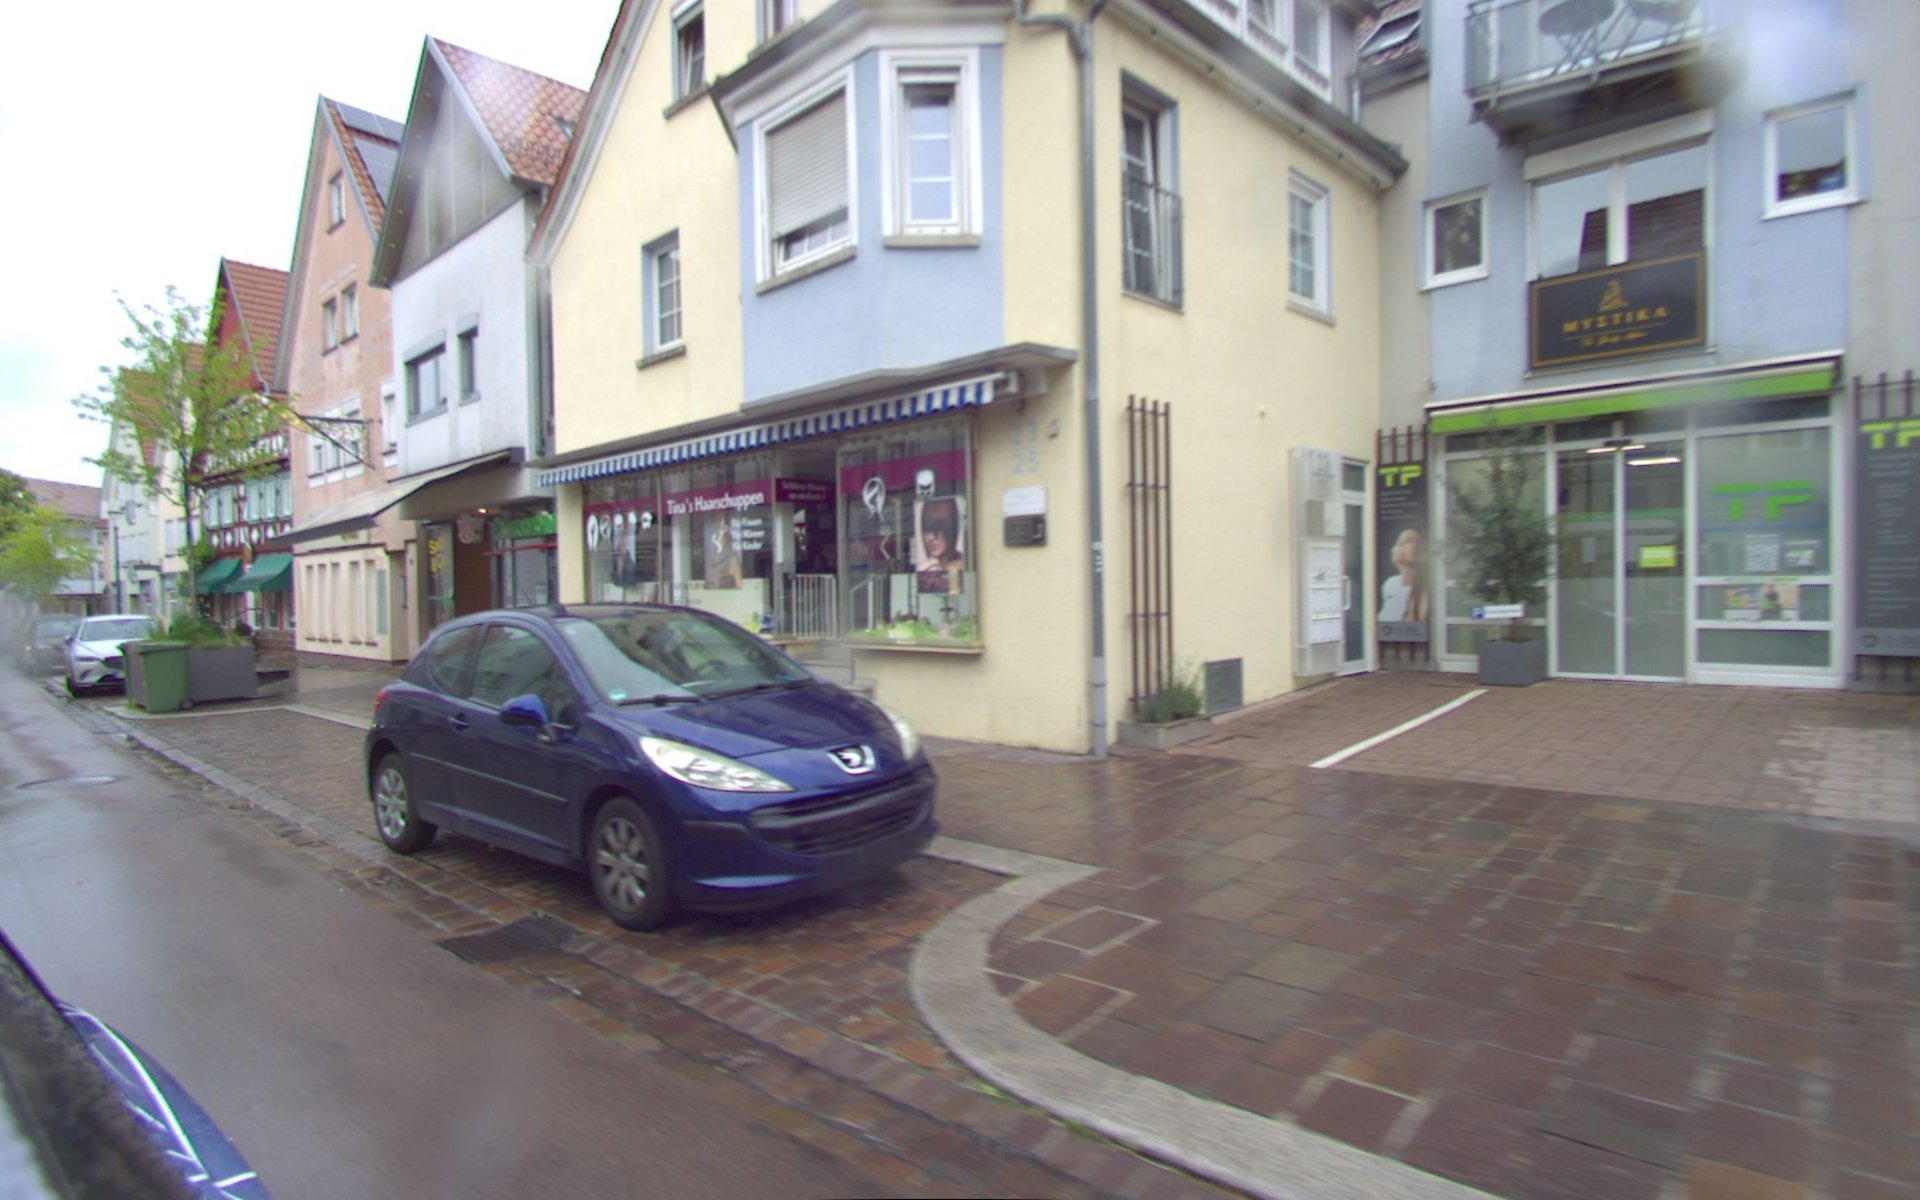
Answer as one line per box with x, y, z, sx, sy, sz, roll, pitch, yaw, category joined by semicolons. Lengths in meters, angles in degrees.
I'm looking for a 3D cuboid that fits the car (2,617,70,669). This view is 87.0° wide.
-34.559;1.559;37.814;1.751;1.687;4.483;-3;2;-44;car

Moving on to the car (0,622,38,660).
-42.756;1.803;45.667;1.574;1.557;3.980;-1;1;-44;car

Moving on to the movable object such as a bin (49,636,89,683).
-22.467;1.490;25.526;0.738;1.090;0.764;-1;0;-43;movable object such as a bin

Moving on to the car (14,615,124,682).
-25.088;1.290;28.447;4.282;1.563;1.814;0;4;43;car

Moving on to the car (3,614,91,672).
-29.741;1.335;32.920;4.542;1.687;1.813;0;1;44;car

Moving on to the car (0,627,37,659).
-46.718;2.129;49.462;4.624;1.443;1.783;-3;-1;41;car

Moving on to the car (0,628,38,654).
-59.787;2.564;63.093;1.965;1.464;4.013;-1;1;-19;car

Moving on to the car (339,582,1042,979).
-1.742;0.713;5.888;3.996;1.483;1.974;-2;1;39;car

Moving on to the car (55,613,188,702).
-17.373;1.095;20.914;1.806;1.578;4.003;-1;1;-44;car

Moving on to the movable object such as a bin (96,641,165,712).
-14.091;1.277;17.199;0.609;1.114;0.806;0;0;40;movable object such as a bin

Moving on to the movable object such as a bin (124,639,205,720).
-12.169;1.195;15.490;0.609;1.114;0.807;0;4;40;movable object such as a bin
